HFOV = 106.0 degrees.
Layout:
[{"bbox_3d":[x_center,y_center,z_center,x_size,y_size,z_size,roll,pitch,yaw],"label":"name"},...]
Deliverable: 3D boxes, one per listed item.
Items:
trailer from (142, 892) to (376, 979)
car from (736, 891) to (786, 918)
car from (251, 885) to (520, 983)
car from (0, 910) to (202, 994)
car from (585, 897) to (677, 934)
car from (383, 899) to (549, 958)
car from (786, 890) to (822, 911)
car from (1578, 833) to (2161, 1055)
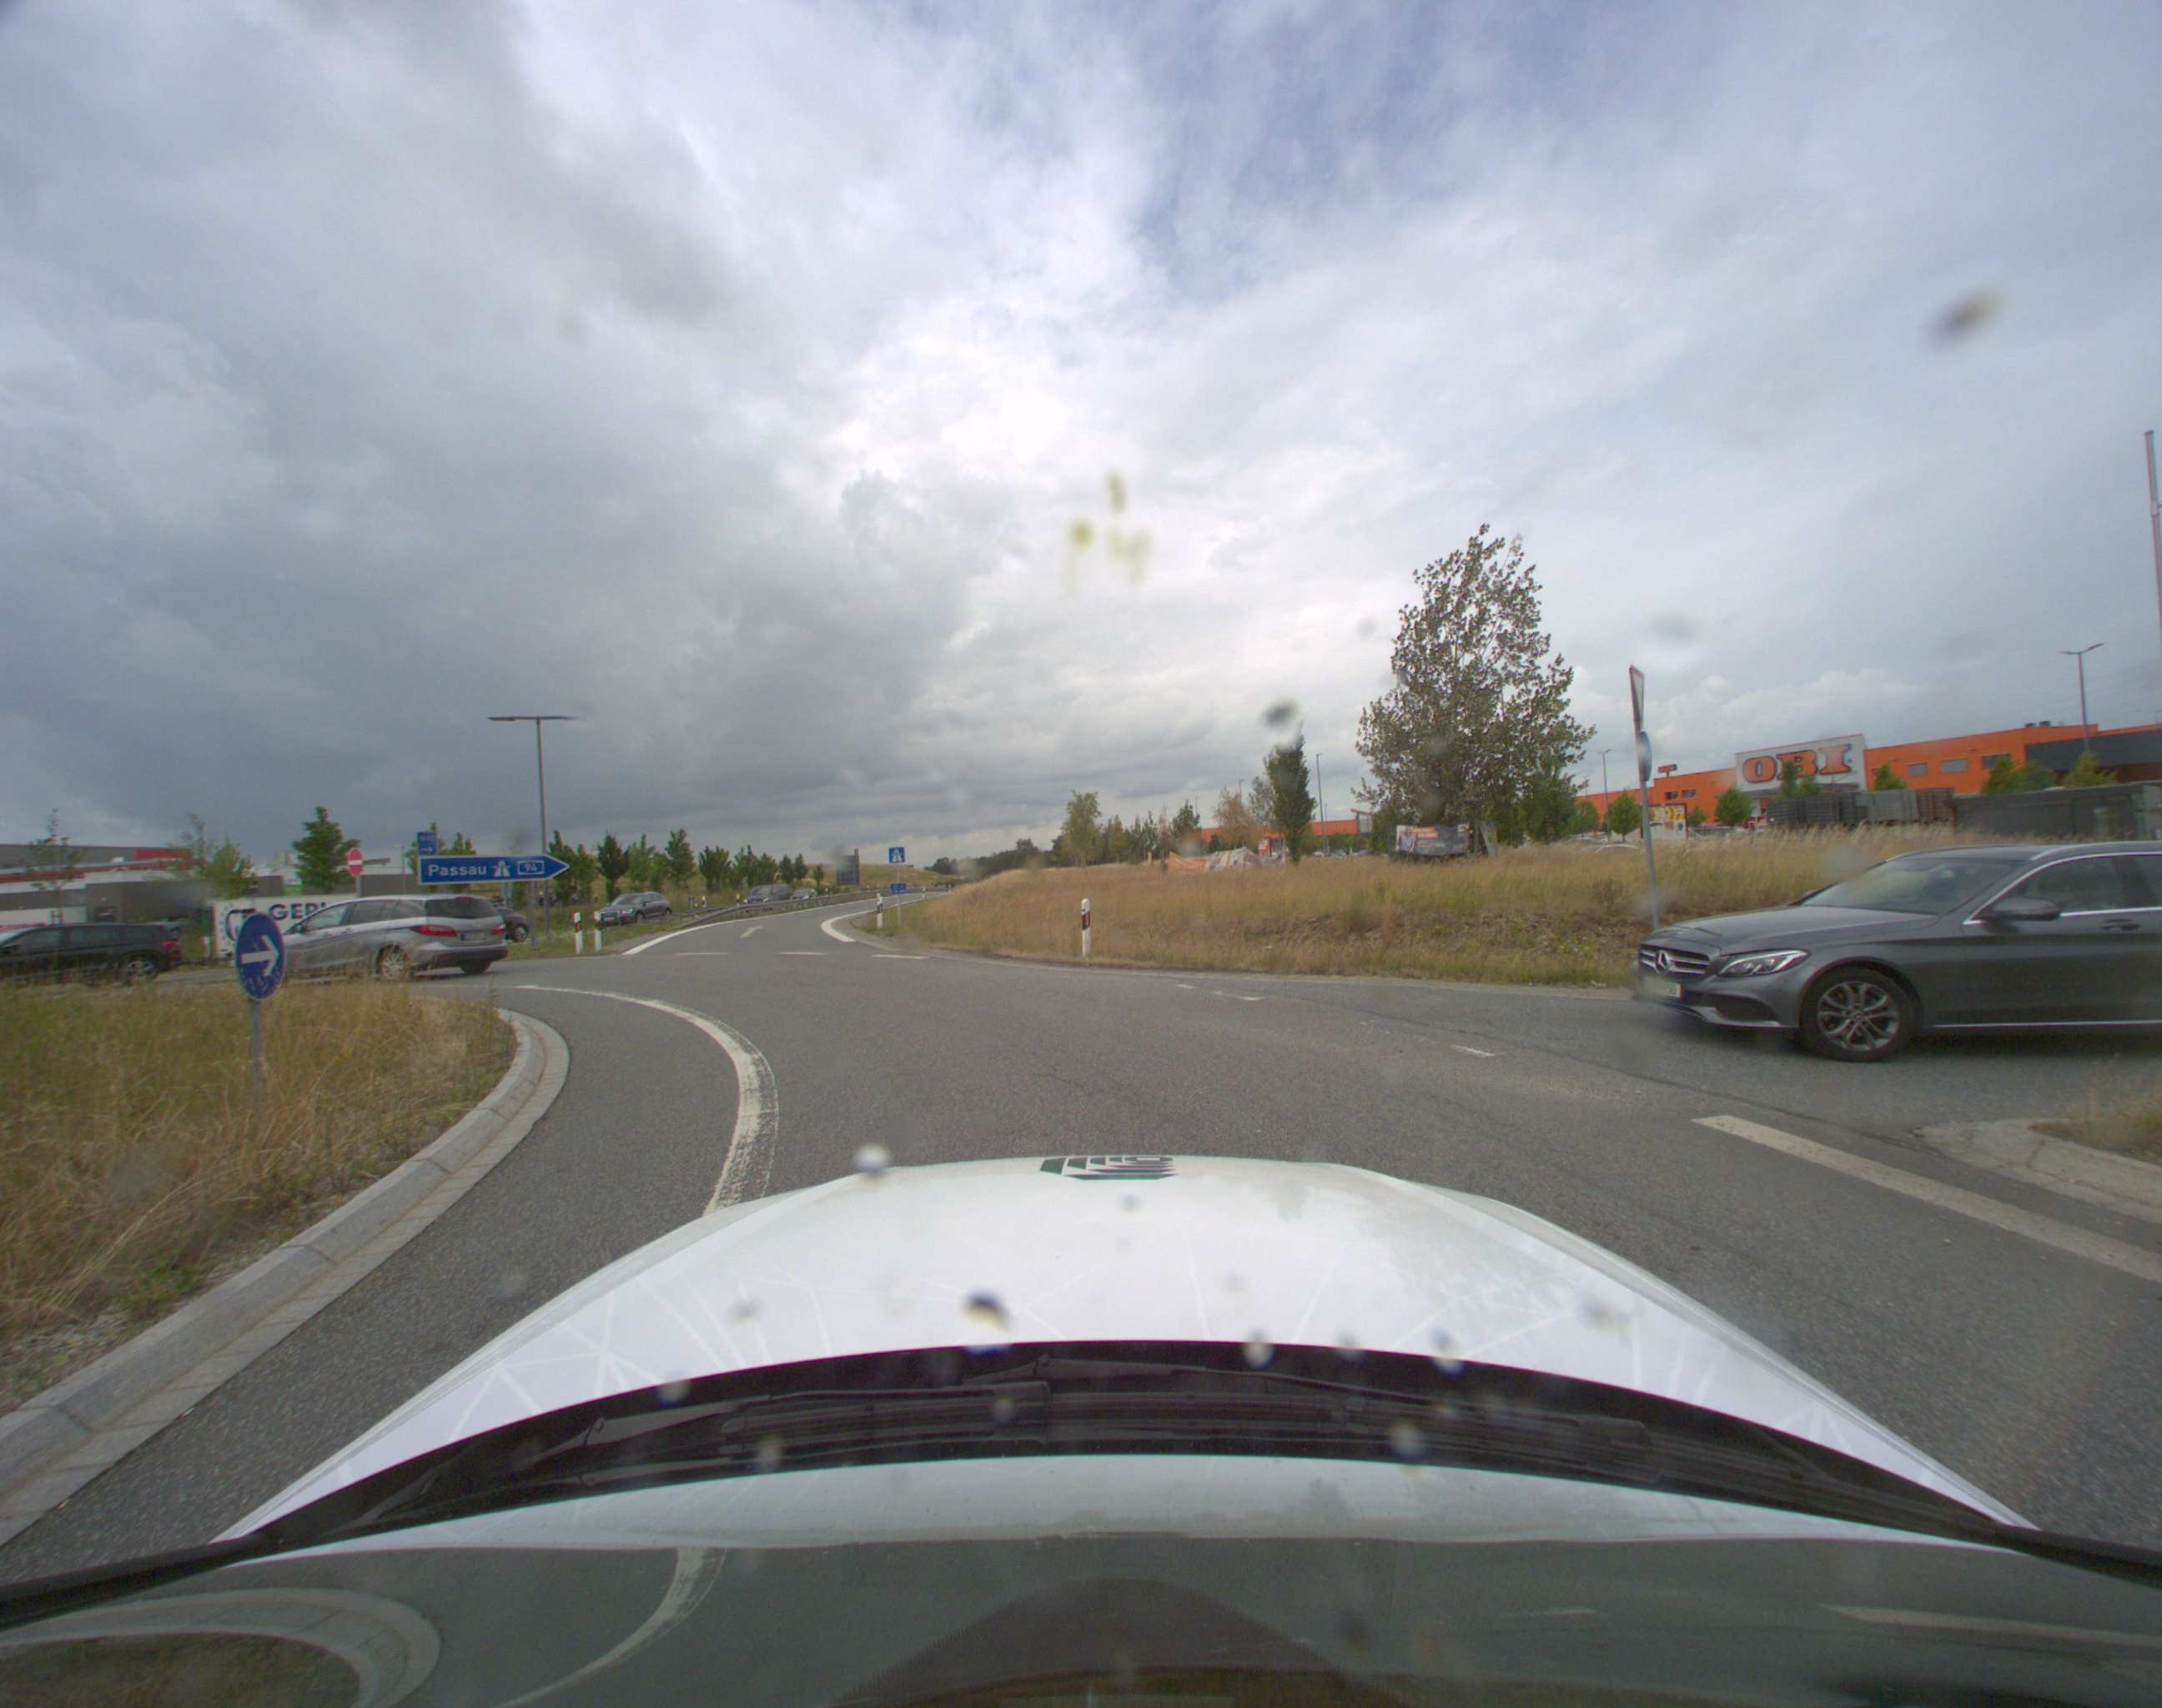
[{"bbox_3d":[-23.936,2.295,23.978,1.978,2.184,4.390,-3,-2,16],"label":"trailer"},{"bbox_3d":[-23.096,3.626,58.939,1.990,1.684,4.585,-4,-2,-4],"label":"car"},{"bbox_3d":[-13.203,1.501,15.554,3.959,1.598,1.749,-2,0,11],"label":"car"},{"bbox_3d":[-24.896,2.303,19.513,1.978,1.760,4.701,1,-3,17],"label":"car"},{"bbox_3d":[-21.101,2.846,38.387,1.724,1.492,4.542,-2,-2,1],"label":"car"},{"bbox_3d":[-22.110,2.629,29.536,1.981,1.684,4.604,-5,-2,10],"label":"car"},{"bbox_3d":[-26.014,4.346,76.658,1.990,1.684,4.585,-4,-2,-4],"label":"car"},{"bbox_3d":[6.788,0.595,6.279,4.649,1.404,1.931,-2,-1,5],"label":"car"}]
